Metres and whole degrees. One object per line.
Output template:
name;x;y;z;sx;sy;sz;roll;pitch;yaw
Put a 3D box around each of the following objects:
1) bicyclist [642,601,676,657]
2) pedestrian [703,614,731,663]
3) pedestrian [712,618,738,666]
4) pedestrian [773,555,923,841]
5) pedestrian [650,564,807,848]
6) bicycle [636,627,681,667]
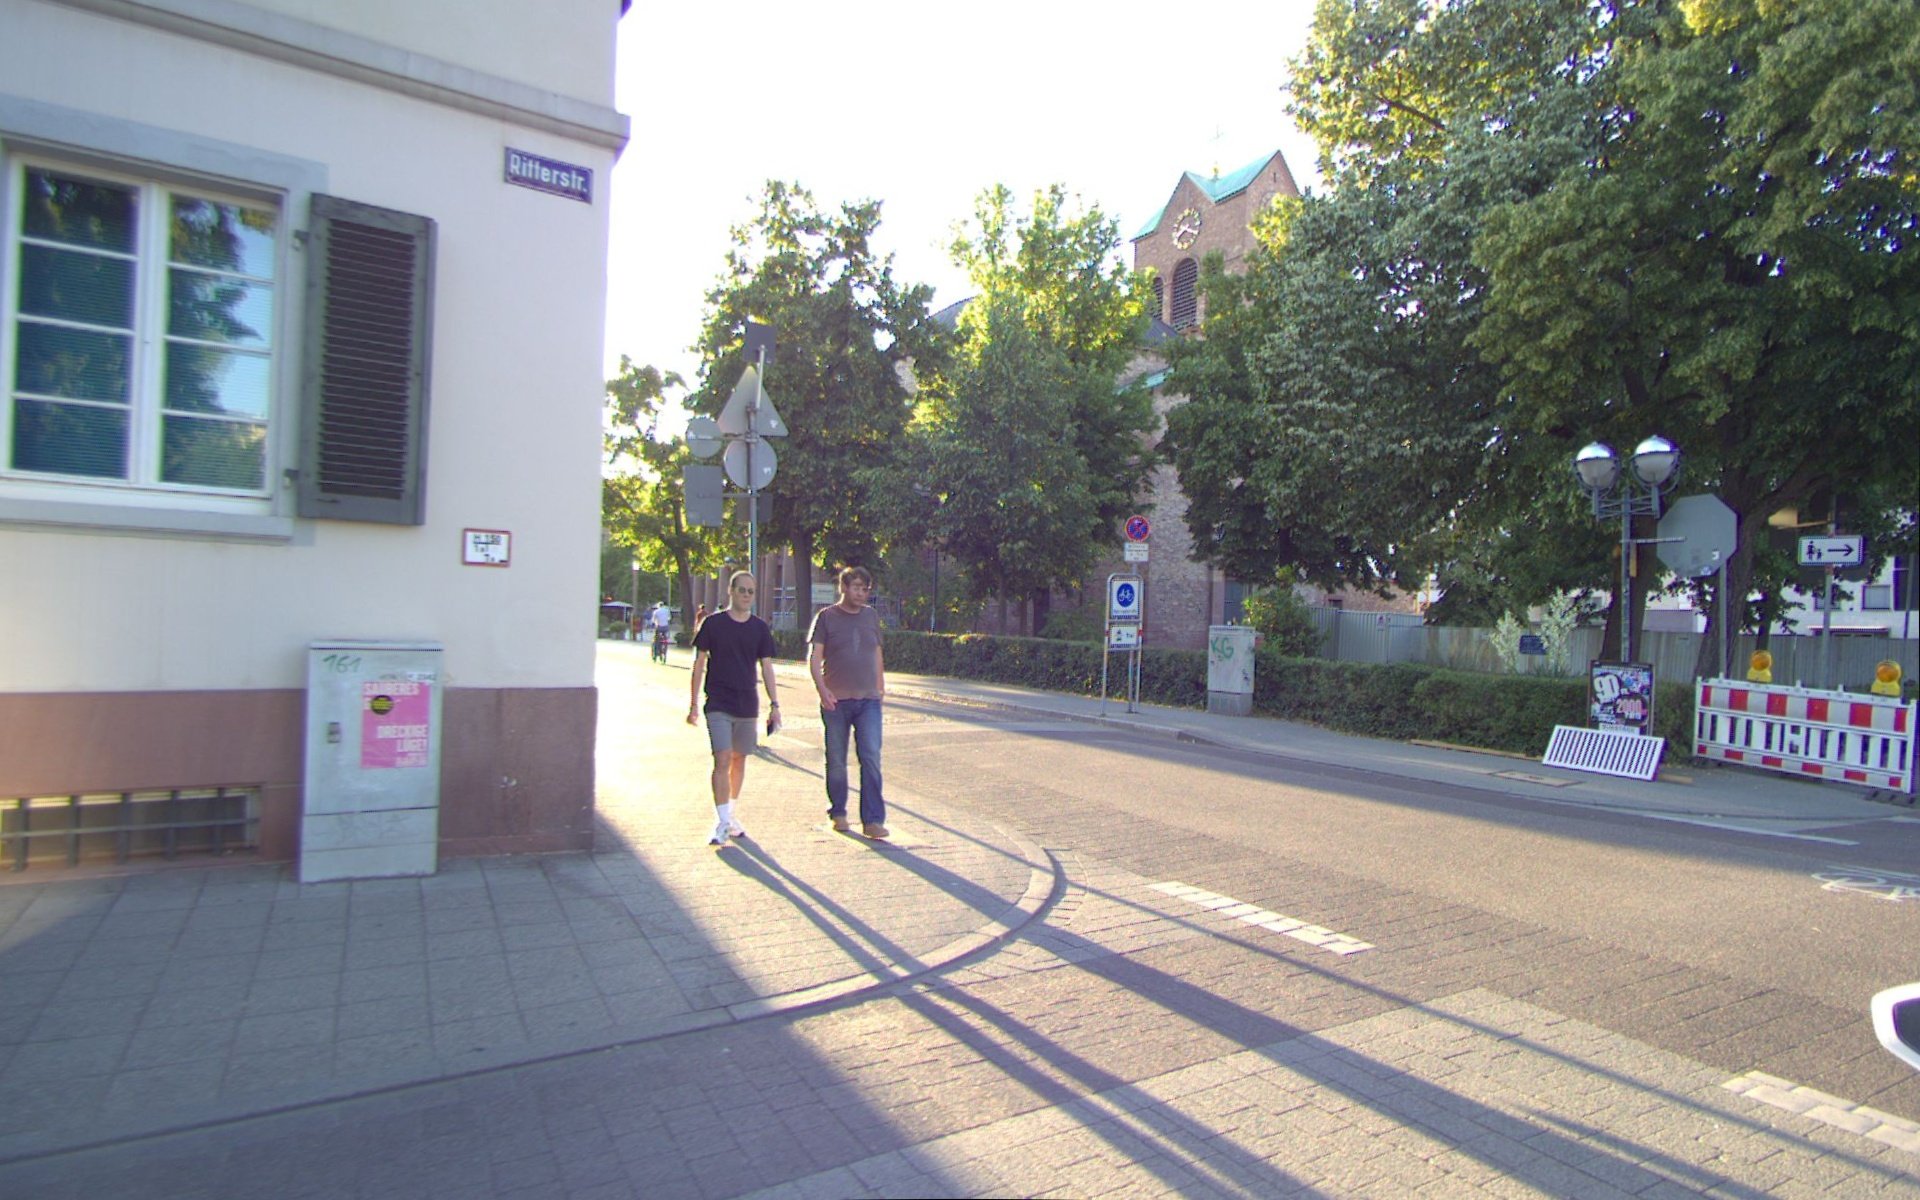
bicyclist;-9.144;0.886;30.484;0.591;1.654;1.052;3;-2;-39
pedestrian;-9.351;1.488;38.637;0.789;1.837;0.649;3;-2;-38
pedestrian;-9.323;1.658;39.802;0.786;1.849;0.651;3;-2;-29
pedestrian;-0.780;0.652;6.971;0.787;1.838;0.651;3;-2;-31
pedestrian;-1.512;0.659;6.548;0.787;1.711;0.651;3;-2;-31
bicycle;-9.163;1.425;30.447;0.591;1.136;1.911;3;-2;-39
